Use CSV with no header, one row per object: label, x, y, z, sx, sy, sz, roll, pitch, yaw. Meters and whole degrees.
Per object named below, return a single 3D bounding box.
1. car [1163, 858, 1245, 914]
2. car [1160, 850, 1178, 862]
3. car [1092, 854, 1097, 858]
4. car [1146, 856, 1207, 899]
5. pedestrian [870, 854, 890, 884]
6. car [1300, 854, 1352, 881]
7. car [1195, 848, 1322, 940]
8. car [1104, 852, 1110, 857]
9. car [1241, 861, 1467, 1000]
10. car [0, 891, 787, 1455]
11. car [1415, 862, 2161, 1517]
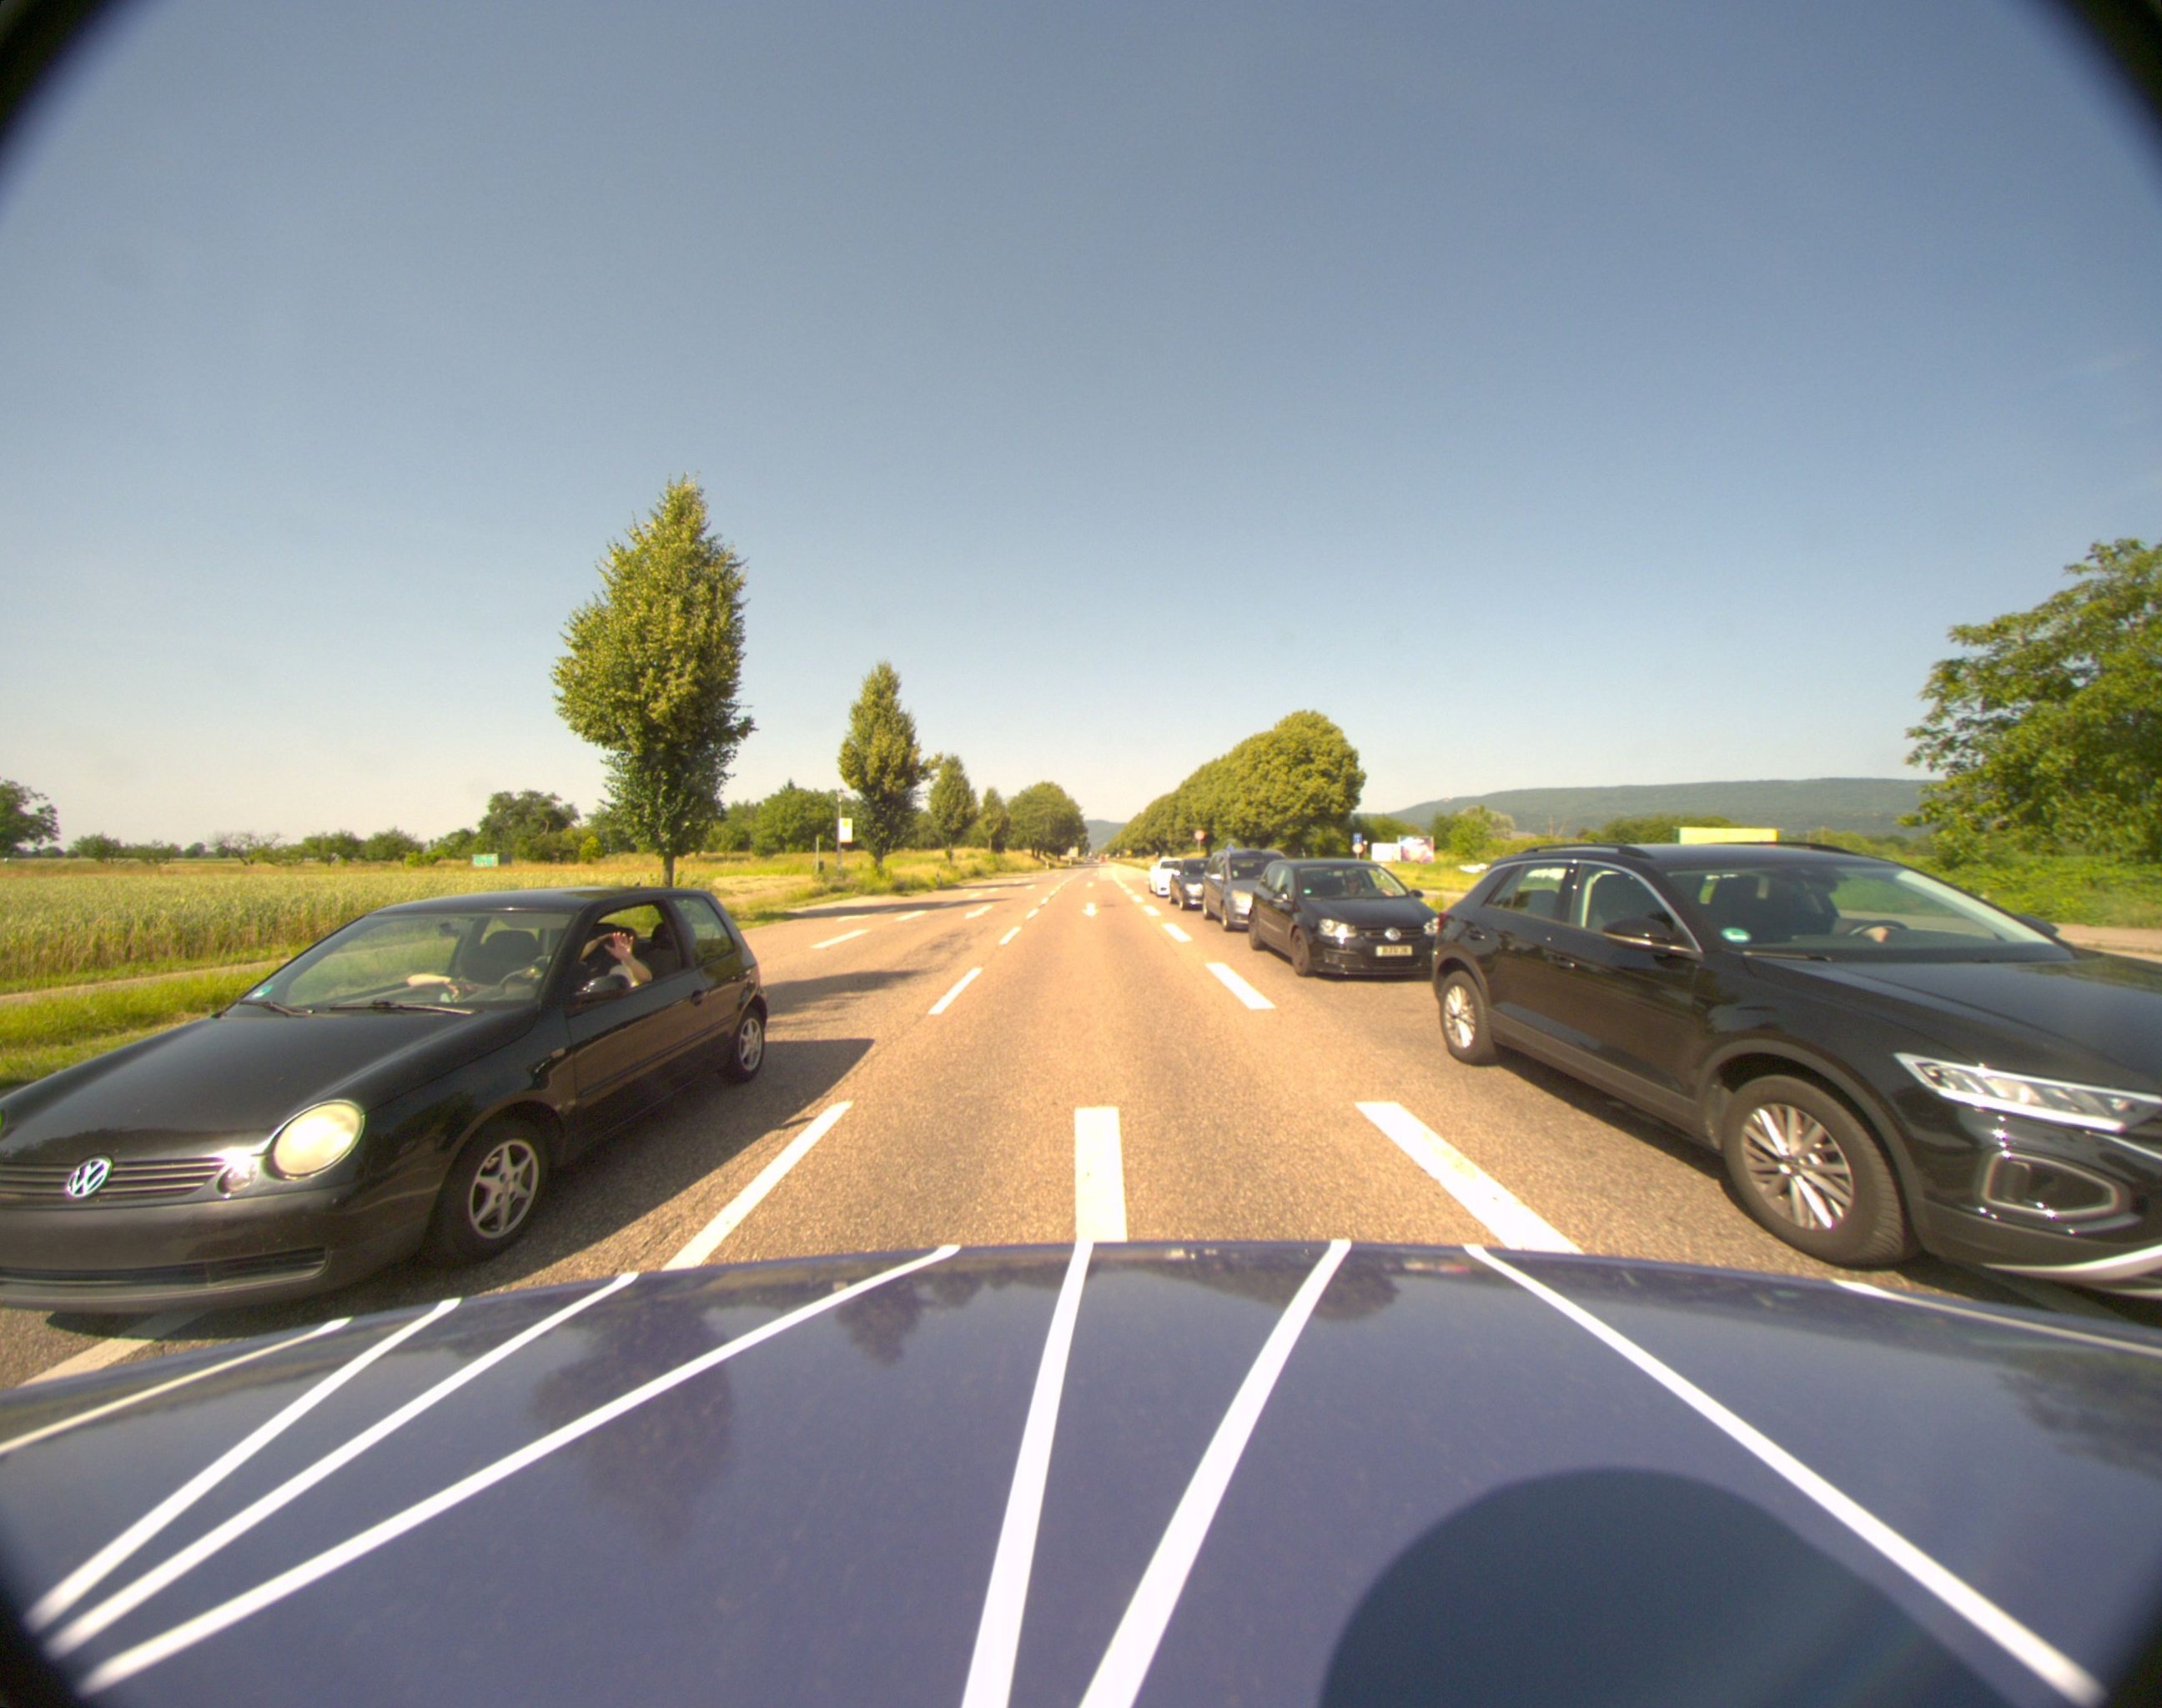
car,3.483,0.862,22.209,1.719,1.402,4.355,-2,0,1
car,11.758,0.289,101.569,1.887,1.506,4.148,1,0,1
car,4.319,0.622,243.039,1.680,1.499,3.725,1,0,1
car,3.572,0.839,29.179,1.808,1.417,4.641,-1,0,1
pedestrian,-12.503,0.919,47.326,0.904,1.828,1.194,0,0,-1
car,14.509,0.787,45.214,1.619,1.433,3.774,2,0,-4
car,3.611,0.743,16.256,1.745,1.662,4.357,-1,0,1
car,7.214,0.154,209.793,1.680,1.499,3.725,0,1,1
car,3.426,0.866,10.395,1.670,1.466,4.098,-1,0,1
car,-3.112,1.020,3.998,1.629,1.425,3.622,-2,0,1
car,3.451,0.848,3.896,1.733,1.538,4.098,-1,0,1
